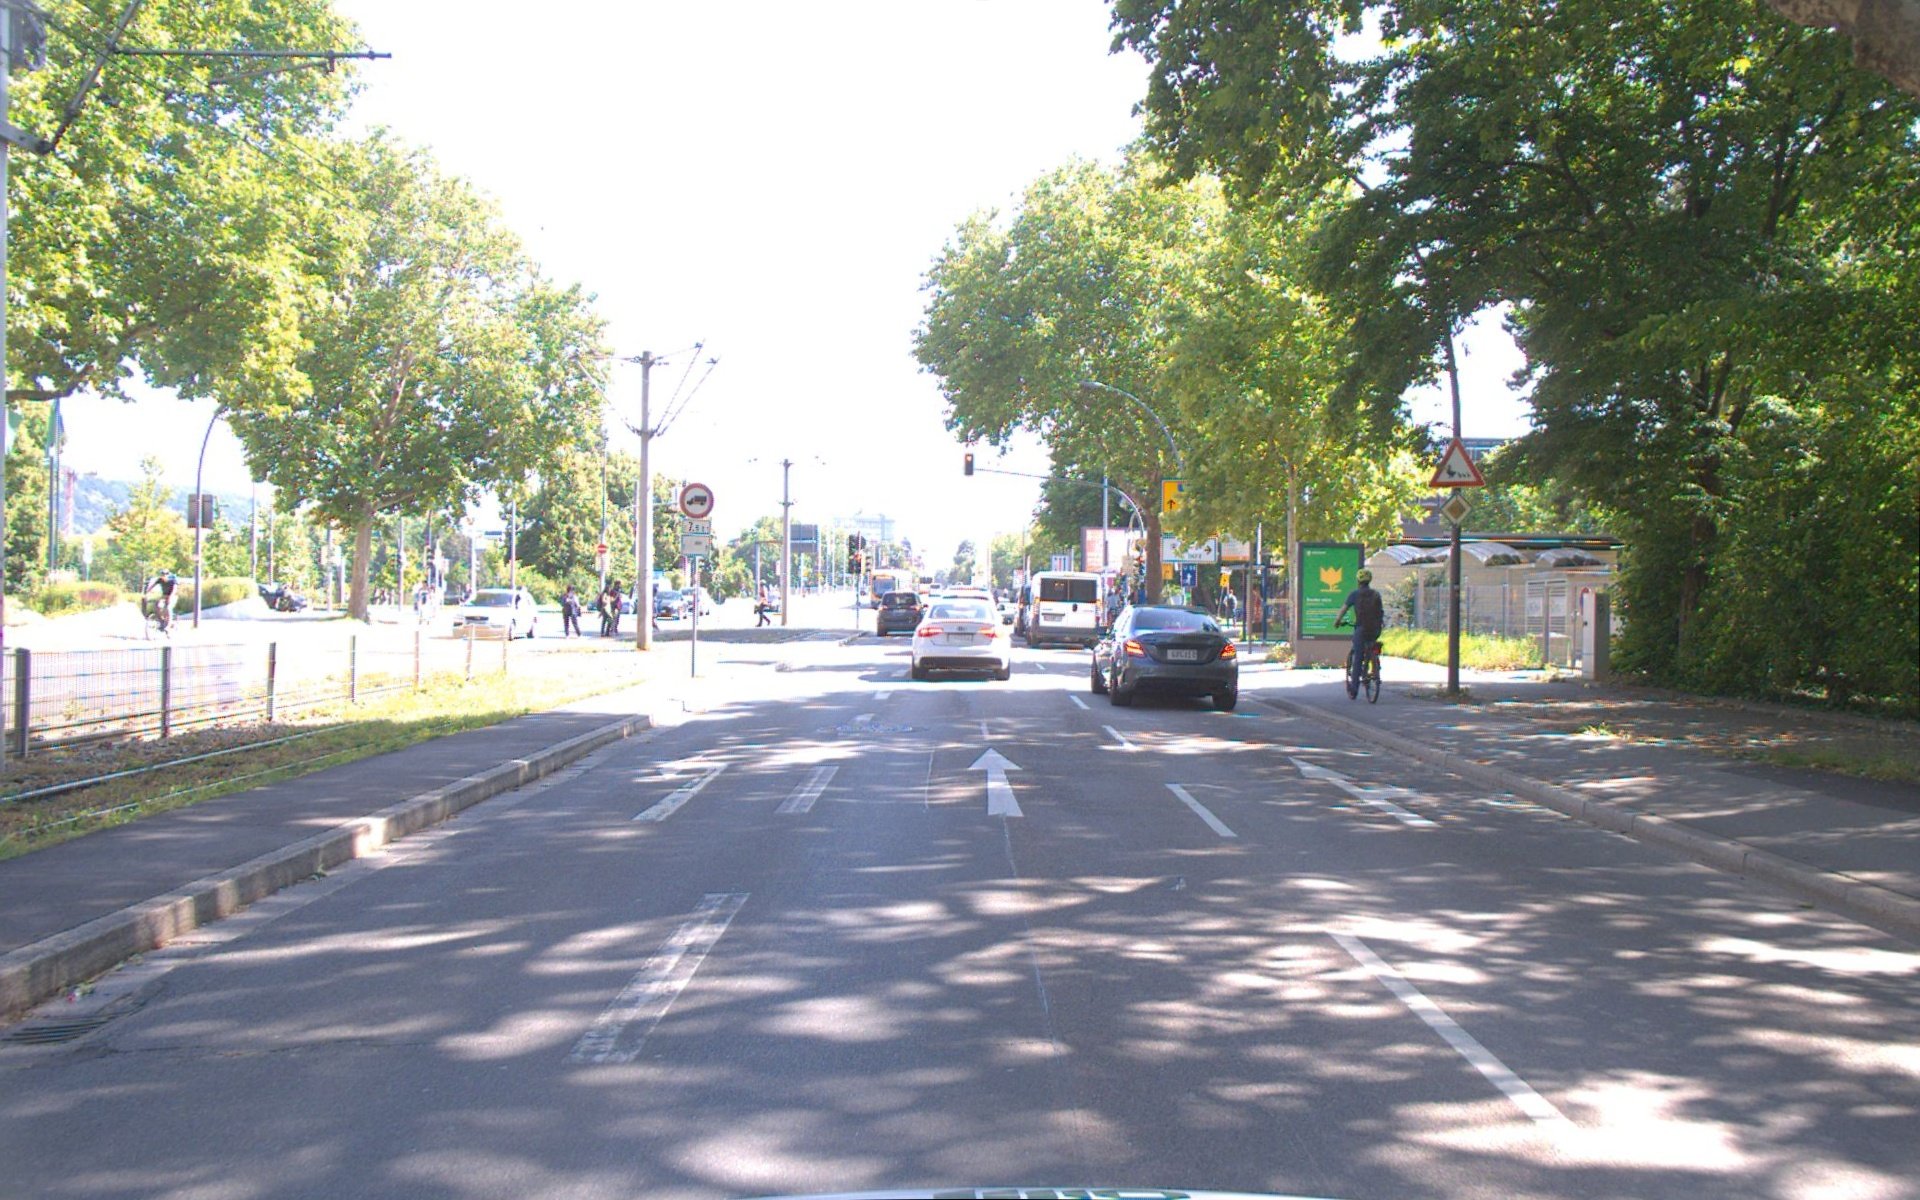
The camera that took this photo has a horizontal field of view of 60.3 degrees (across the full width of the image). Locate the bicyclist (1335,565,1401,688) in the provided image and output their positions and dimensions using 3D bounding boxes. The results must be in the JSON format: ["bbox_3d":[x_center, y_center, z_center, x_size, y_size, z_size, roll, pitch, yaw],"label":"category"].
[{"bbox_3d":[5.747,0.366,23.326,0.621,1.677,0.979,-2,0,-1],"label":"bicyclist"}]

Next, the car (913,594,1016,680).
[{"bbox_3d":[0.087,0.629,30.512,1.748,1.445,3.885,1,0,0],"label":"car"}]

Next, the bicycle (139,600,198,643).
[{"bbox_3d":[-21.373,0.567,44.706,0.653,1.113,1.884,1,0,1],"label":"bicycle"}]

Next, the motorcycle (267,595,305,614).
[{"bbox_3d":[-33.603,0.233,82.456,1.610,0.906,0.650,1,0,0],"label":"motorcycle"}]

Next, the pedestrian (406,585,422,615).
[{"bbox_3d":[-28.717,-0.014,86.960,0.610,1.569,0.644,1,0,-1],"label":"pedestrian"}]

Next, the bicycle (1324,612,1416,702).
[{"bbox_3d":[5.767,0.775,23.392,0.700,1.168,2.178,-2,0,-1],"label":"bicycle"}]

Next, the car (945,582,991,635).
[{"bbox_3d":[0.304,0.303,63.235,1.694,1.935,4.000,1,0,0],"label":"car"}]

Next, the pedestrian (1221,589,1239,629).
[{"bbox_3d":[12.278,0.400,75.159,0.761,1.819,0.764,1,0,8],"label":"pedestrian"}]

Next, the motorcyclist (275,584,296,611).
[{"bbox_3d":[-33.617,-0.124,82.451,0.737,1.337,0.604,1,0,0],"label":"motorcyclist"}]

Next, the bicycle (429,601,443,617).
[{"bbox_3d":[-26.246,0.446,82.847,0.412,0.761,1.144,1,0,-6],"label":"bicycle"}]

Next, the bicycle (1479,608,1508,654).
[{"bbox_3d":[14.255,0.815,44.189,0.381,1.201,1.173,1,0,1],"label":"bicycle"}]

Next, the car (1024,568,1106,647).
[{"bbox_3d":[3.138,0.204,50.170,2.184,2.250,4.162,1,0,0],"label":"car"}]

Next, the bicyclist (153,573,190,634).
[{"bbox_3d":[-21.358,0.101,44.784,0.563,1.632,0.838,1,0,0],"label":"bicyclist"}]

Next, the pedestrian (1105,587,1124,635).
[{"bbox_3d":[5.649,0.389,60.431,0.590,1.724,0.953,-1,0,0],"label":"pedestrian"}]

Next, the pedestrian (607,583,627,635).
[{"bbox_3d":[-11.234,0.291,54.214,0.482,1.708,0.643,1,0,0],"label":"pedestrian"}]

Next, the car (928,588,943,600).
[{"bbox_3d":[-3.305,-0.850,225.539,1.832,1.637,4.001,1,0,2],"label":"car"}]

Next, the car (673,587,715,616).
[{"bbox_3d":[-15.414,0.095,95.877,1.727,1.637,3.860,1,0,1],"label":"car"}]

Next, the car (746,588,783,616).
[{"bbox_3d":[-12.937,0.132,109.647,1.952,1.764,4.000,1,0,1],"label":"car"}]

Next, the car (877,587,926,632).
[{"bbox_3d":[-2.205,0.349,63.203,1.694,1.659,4.000,1,0,0],"label":"car"}]

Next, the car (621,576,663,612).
[{"bbox_3d":[-21.889,-0.393,113.886,2.071,2.424,4.000,1,0,1],"label":"car"}]

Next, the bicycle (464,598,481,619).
[{"bbox_3d":[-23.368,0.403,79.287,0.475,0.978,1.653,1,0,-5],"label":"bicycle"}]

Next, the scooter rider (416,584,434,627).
[{"bbox_3d":[-21.065,0.210,65.097,0.496,1.660,0.566,1,0,0],"label":"scooter rider"}]

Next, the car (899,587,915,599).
[{"bbox_3d":[-7.269,-0.974,225.663,1.832,1.637,4.001,1,0,2],"label":"car"}]

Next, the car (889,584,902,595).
[{"bbox_3d":[-10.071,-1.645,257.904,1.953,1.670,3.999,1,0,-1],"label":"car"}]

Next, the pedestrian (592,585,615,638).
[{"bbox_3d":[-11.449,0.364,53.111,0.580,1.675,0.554,1,0,0],"label":"pedestrian"}]

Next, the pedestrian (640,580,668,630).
[{"bbox_3d":[-11.139,0.183,60.164,0.758,1.764,0.755,1,0,9],"label":"pedestrian"}]

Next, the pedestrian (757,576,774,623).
[{"bbox_3d":[-8.257,-0.018,70.111,0.611,1.952,0.690,1,0,0],"label":"pedestrian"}]

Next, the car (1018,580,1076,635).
[{"bbox_3d":[3.335,0.271,64.309,2.029,2.034,4.058,1,0,0],"label":"car"}]

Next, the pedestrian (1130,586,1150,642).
[{"bbox_3d":[6.412,0.497,59.036,0.622,1.980,0.719,1,0,0],"label":"pedestrian"}]

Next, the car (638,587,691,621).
[{"bbox_3d":[-14.654,0.192,82.256,1.832,1.637,4.000,1,0,1],"label":"car"}]

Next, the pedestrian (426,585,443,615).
[{"bbox_3d":[-27.637,-0.008,87.034,0.610,1.569,0.782,1,0,-1],"label":"pedestrian"}]

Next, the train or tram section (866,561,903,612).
[{"bbox_3d":[-6.262,-1.095,138.078,2.563,4.085,7.749,1,0,1],"label":"train or tram section"}]

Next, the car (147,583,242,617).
[{"bbox_3d":[-37.239,0.008,80.475,3.768,1.576,1.769,1,0,0],"label":"car"}]

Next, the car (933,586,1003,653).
[{"bbox_3d":[0.208,0.470,43.102,1.694,1.633,3.885,1,0,0],"label":"car"}]

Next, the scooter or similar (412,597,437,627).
[{"bbox_3d":[-21.069,0.472,65.072,0.536,1.132,1.248,1,0,1],"label":"scooter or similar"}]

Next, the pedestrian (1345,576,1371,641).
[{"bbox_3d":[11.999,0.249,49.839,0.601,1.929,0.597,0,0,-3],"label":"pedestrian"}]

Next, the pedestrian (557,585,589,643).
[{"bbox_3d":[-11.138,0.395,47.592,0.747,1.651,0.590,1,0,-25],"label":"pedestrian"}]

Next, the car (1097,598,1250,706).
[{"bbox_3d":[3.085,0.706,24.615,1.746,1.445,4.000,1,0,0],"label":"car"}]

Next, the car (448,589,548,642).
[{"bbox_3d":[-14.142,0.453,50.844,1.760,1.514,4.385,1,0,1],"label":"car"}]

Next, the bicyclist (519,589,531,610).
[{"bbox_3d":[-27.776,-0.014,105.634,0.464,1.314,0.496,1,0,29],"label":"bicyclist"}]

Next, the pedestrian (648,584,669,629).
[{"bbox_3d":[-11.085,0.242,60.878,0.526,1.626,0.578,1,0,19],"label":"pedestrian"}]

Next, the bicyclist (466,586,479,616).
[{"bbox_3d":[-23.371,0.040,79.353,0.470,1.441,0.592,1,0,-5],"label":"bicyclist"}]
